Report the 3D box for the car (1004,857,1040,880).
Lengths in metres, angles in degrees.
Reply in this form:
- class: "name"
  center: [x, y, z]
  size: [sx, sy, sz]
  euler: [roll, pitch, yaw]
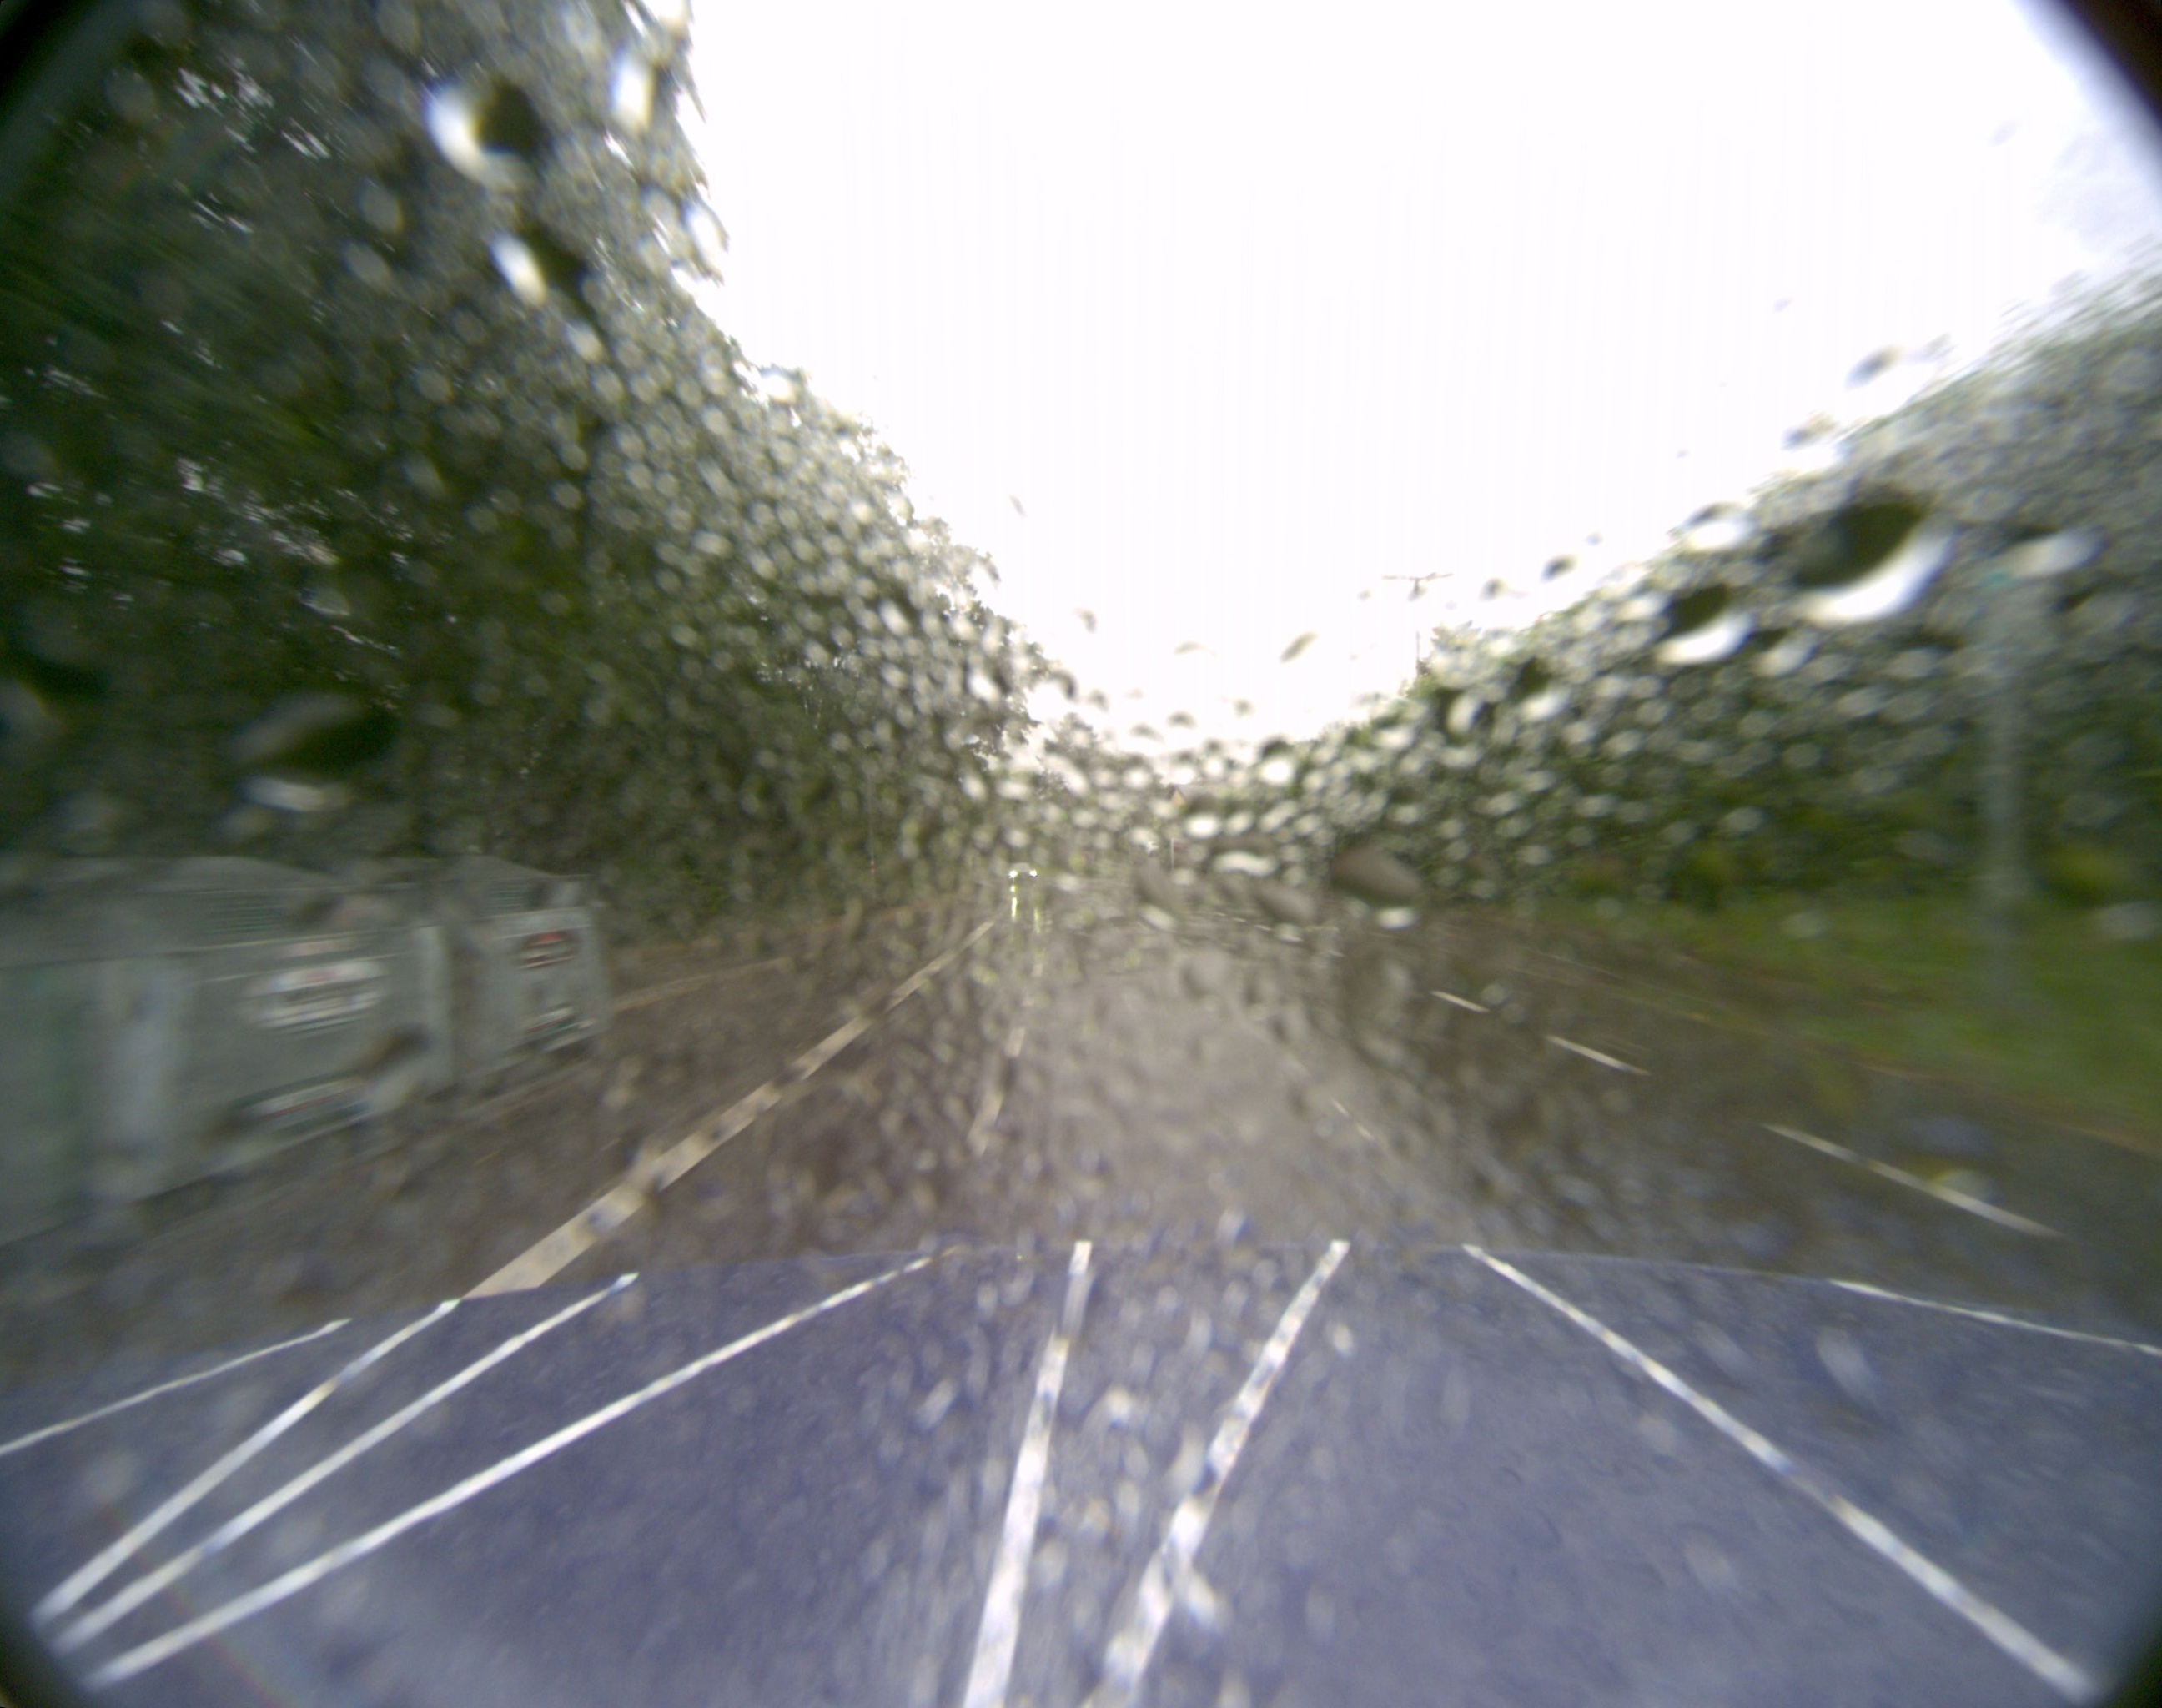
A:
- class: "car"
  center: [-4.302, 1.019, 55.167]
  size: [1.801, 1.543, 3.995]
  euler: [-3, 0, -15]
